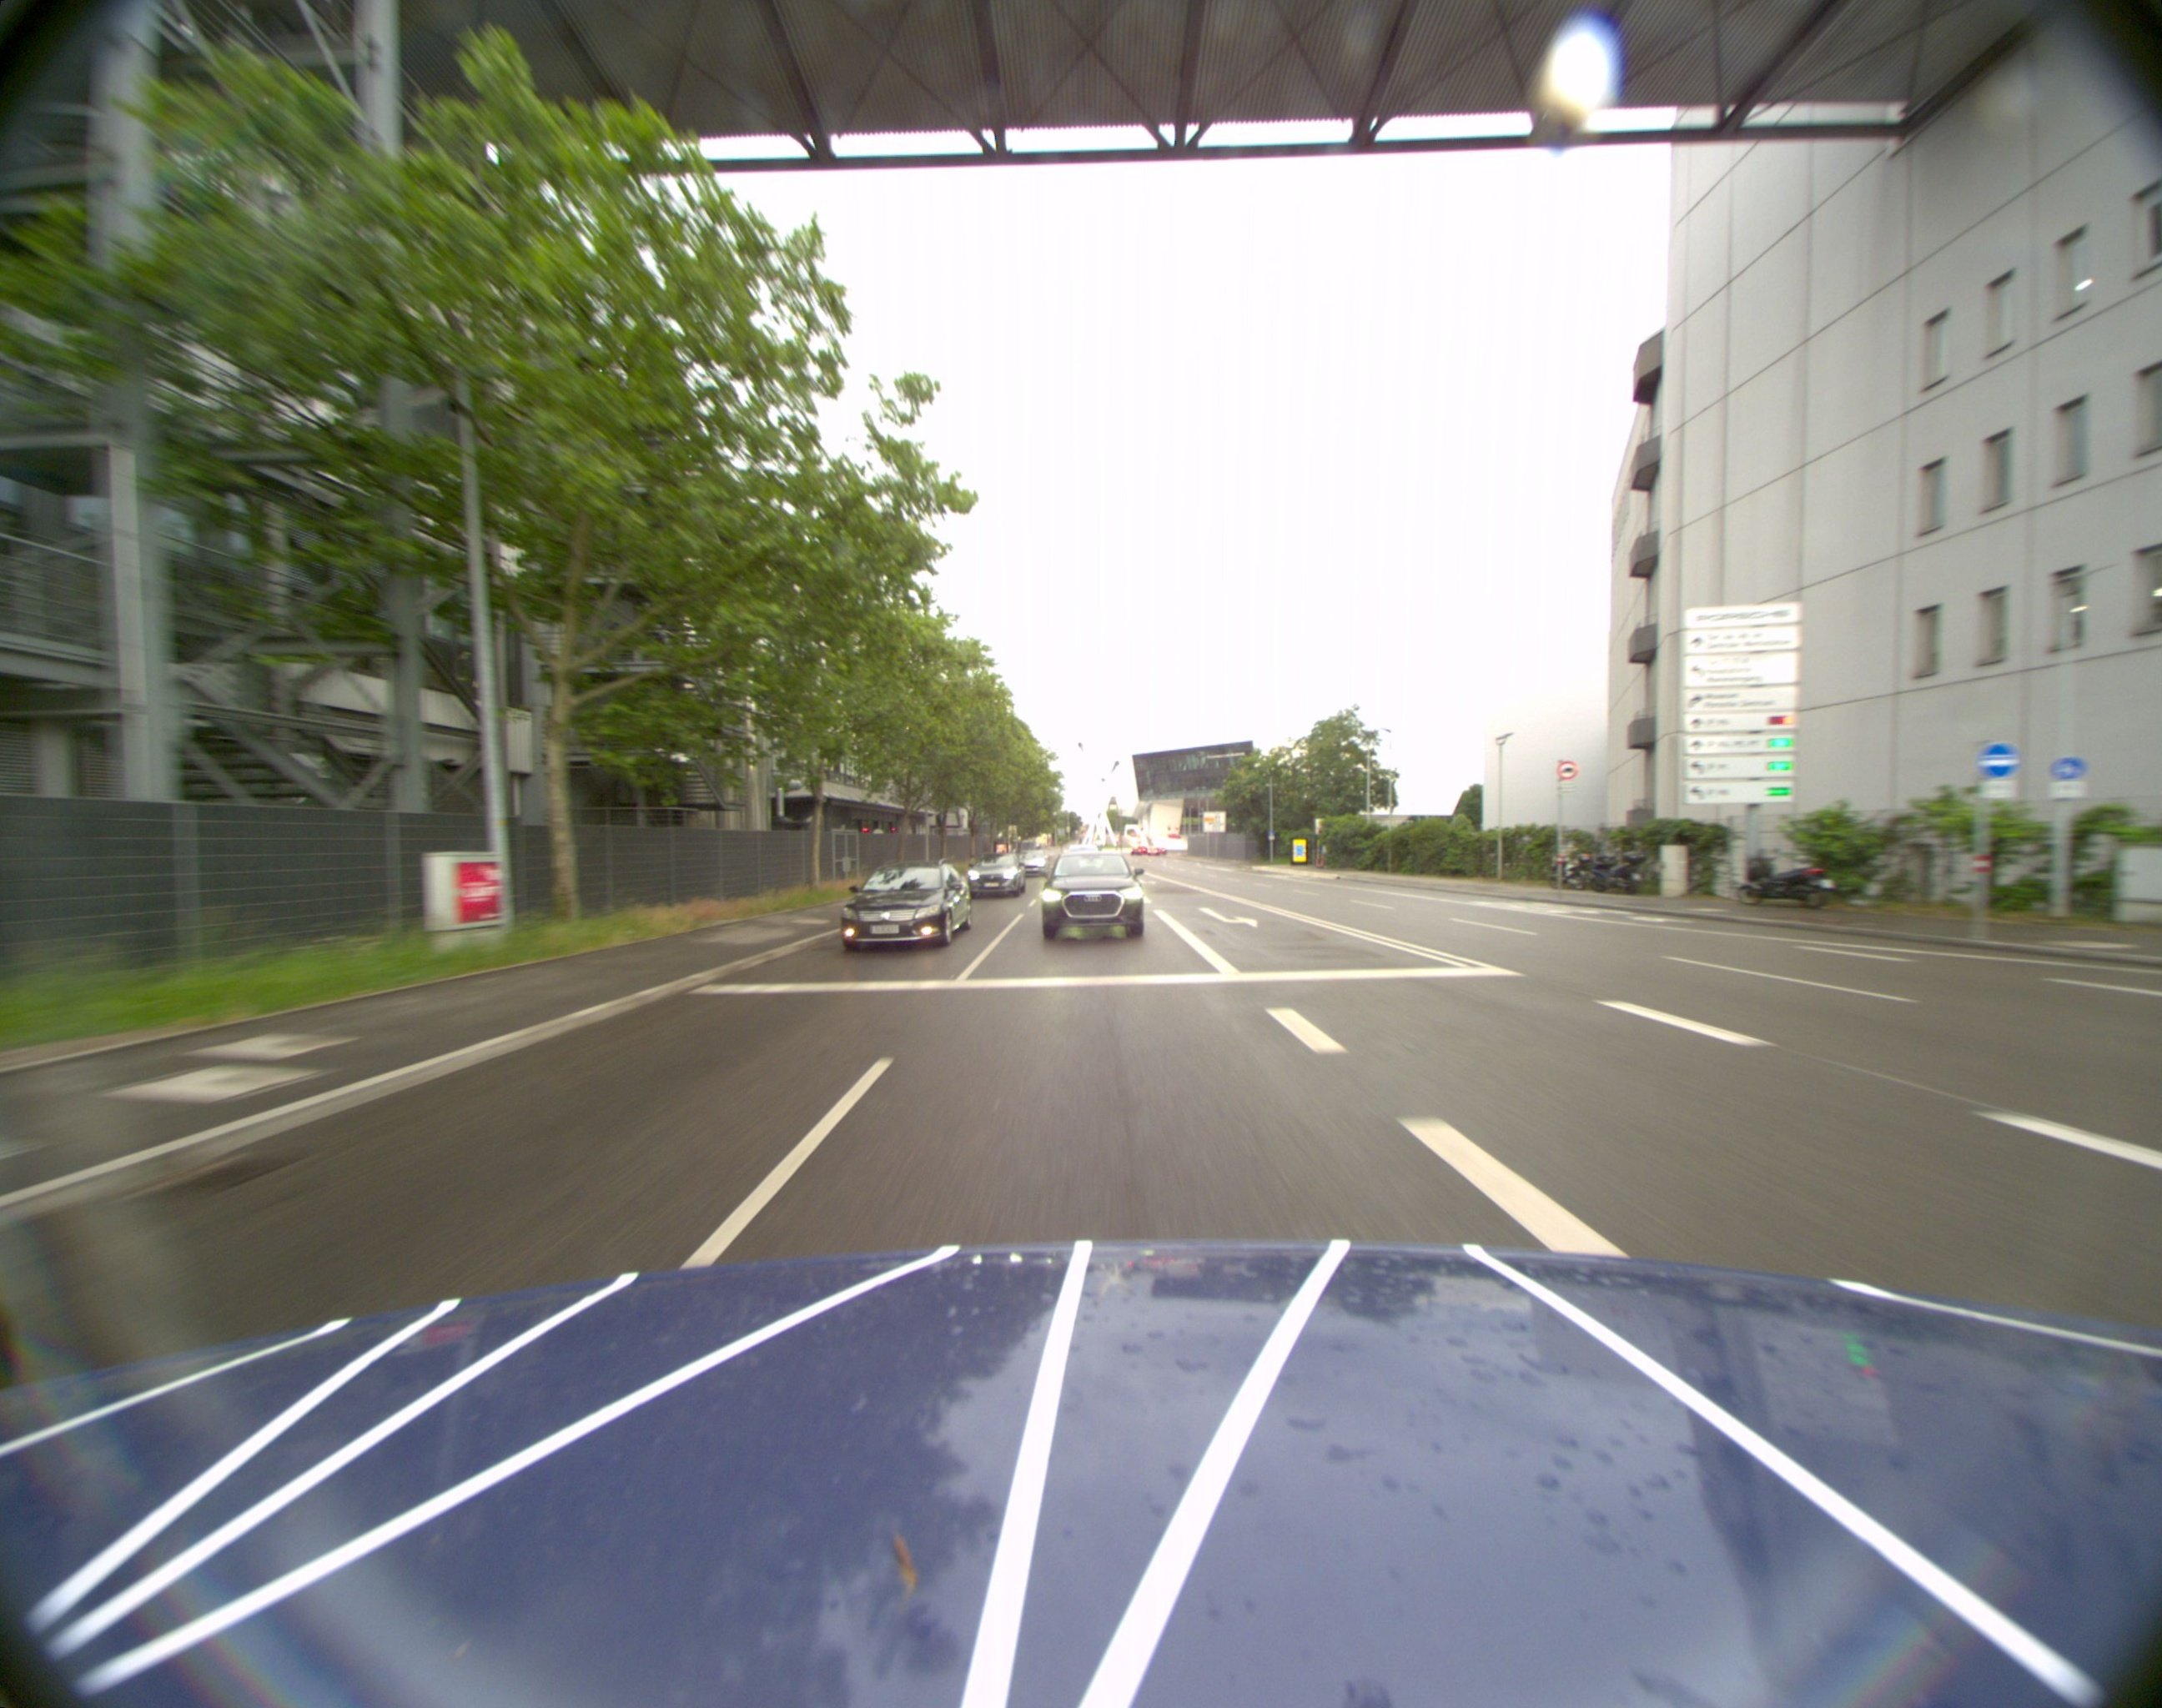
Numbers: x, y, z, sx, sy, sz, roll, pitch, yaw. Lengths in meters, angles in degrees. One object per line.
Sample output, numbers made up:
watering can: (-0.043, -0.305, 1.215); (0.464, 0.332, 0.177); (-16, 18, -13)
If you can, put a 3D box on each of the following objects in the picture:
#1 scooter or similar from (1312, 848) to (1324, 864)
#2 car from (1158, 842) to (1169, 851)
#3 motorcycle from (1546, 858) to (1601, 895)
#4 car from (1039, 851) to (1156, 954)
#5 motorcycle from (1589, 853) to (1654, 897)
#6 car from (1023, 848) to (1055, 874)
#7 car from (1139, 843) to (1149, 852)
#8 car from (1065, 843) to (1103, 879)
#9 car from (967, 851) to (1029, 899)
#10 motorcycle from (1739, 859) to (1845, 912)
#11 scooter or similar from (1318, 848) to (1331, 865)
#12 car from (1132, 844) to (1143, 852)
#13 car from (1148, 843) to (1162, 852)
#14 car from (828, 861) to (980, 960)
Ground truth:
scooter or similar: (16.544, 0.138, 53.020); (0.394, 1.123, 1.569); (0, 1, 1)
car: (15.443, -1.382, 142.825); (1.776, 1.580, 4.485); (0, 1, 2)
motorcycle: (16.964, 0.748, 26.224); (0.626, 1.208, 1.968); (0, 1, 1)
car: (0.255, 0.759, 14.818); (1.820, 1.536, 5.607); (-1, 1, 0)
motorcycle: (16.761, 0.628, 23.618); (0.626, 1.260, 2.171); (-2, 1, 6)
car: (-2.662, 0.428, 49.040); (1.820, 1.571, 4.331); (-1, 1, 0)
car: (11.954, -1.244, 144.158); (1.776, 1.580, 4.485); (0, 1, 2)
car: (0.158, 0.335, 42.970); (2.035, 1.920, 4.331); (-1, 1, 0)
car: (-3.005, 0.706, 28.405); (1.825, 1.581, 4.331); (-1, 1, 0)
motorcycle: (16.875, 0.715, 18.117); (0.569, 1.156, 2.038); (0, 1, -1)
scooter or similar: (16.455, 0.159, 51.369); (0.394, 1.123, 1.569); (0, 1, 1)
car: (10.156, -1.104, 137.796); (1.776, 1.580, 4.485); (0, 1, 2)
car: (13.215, -1.185, 135.863); (2.036, 1.580, 4.485); (0, 1, 2)
car: (-3.091, 0.906, 14.211); (1.749, 1.422, 4.516); (-2, 1, 0)
